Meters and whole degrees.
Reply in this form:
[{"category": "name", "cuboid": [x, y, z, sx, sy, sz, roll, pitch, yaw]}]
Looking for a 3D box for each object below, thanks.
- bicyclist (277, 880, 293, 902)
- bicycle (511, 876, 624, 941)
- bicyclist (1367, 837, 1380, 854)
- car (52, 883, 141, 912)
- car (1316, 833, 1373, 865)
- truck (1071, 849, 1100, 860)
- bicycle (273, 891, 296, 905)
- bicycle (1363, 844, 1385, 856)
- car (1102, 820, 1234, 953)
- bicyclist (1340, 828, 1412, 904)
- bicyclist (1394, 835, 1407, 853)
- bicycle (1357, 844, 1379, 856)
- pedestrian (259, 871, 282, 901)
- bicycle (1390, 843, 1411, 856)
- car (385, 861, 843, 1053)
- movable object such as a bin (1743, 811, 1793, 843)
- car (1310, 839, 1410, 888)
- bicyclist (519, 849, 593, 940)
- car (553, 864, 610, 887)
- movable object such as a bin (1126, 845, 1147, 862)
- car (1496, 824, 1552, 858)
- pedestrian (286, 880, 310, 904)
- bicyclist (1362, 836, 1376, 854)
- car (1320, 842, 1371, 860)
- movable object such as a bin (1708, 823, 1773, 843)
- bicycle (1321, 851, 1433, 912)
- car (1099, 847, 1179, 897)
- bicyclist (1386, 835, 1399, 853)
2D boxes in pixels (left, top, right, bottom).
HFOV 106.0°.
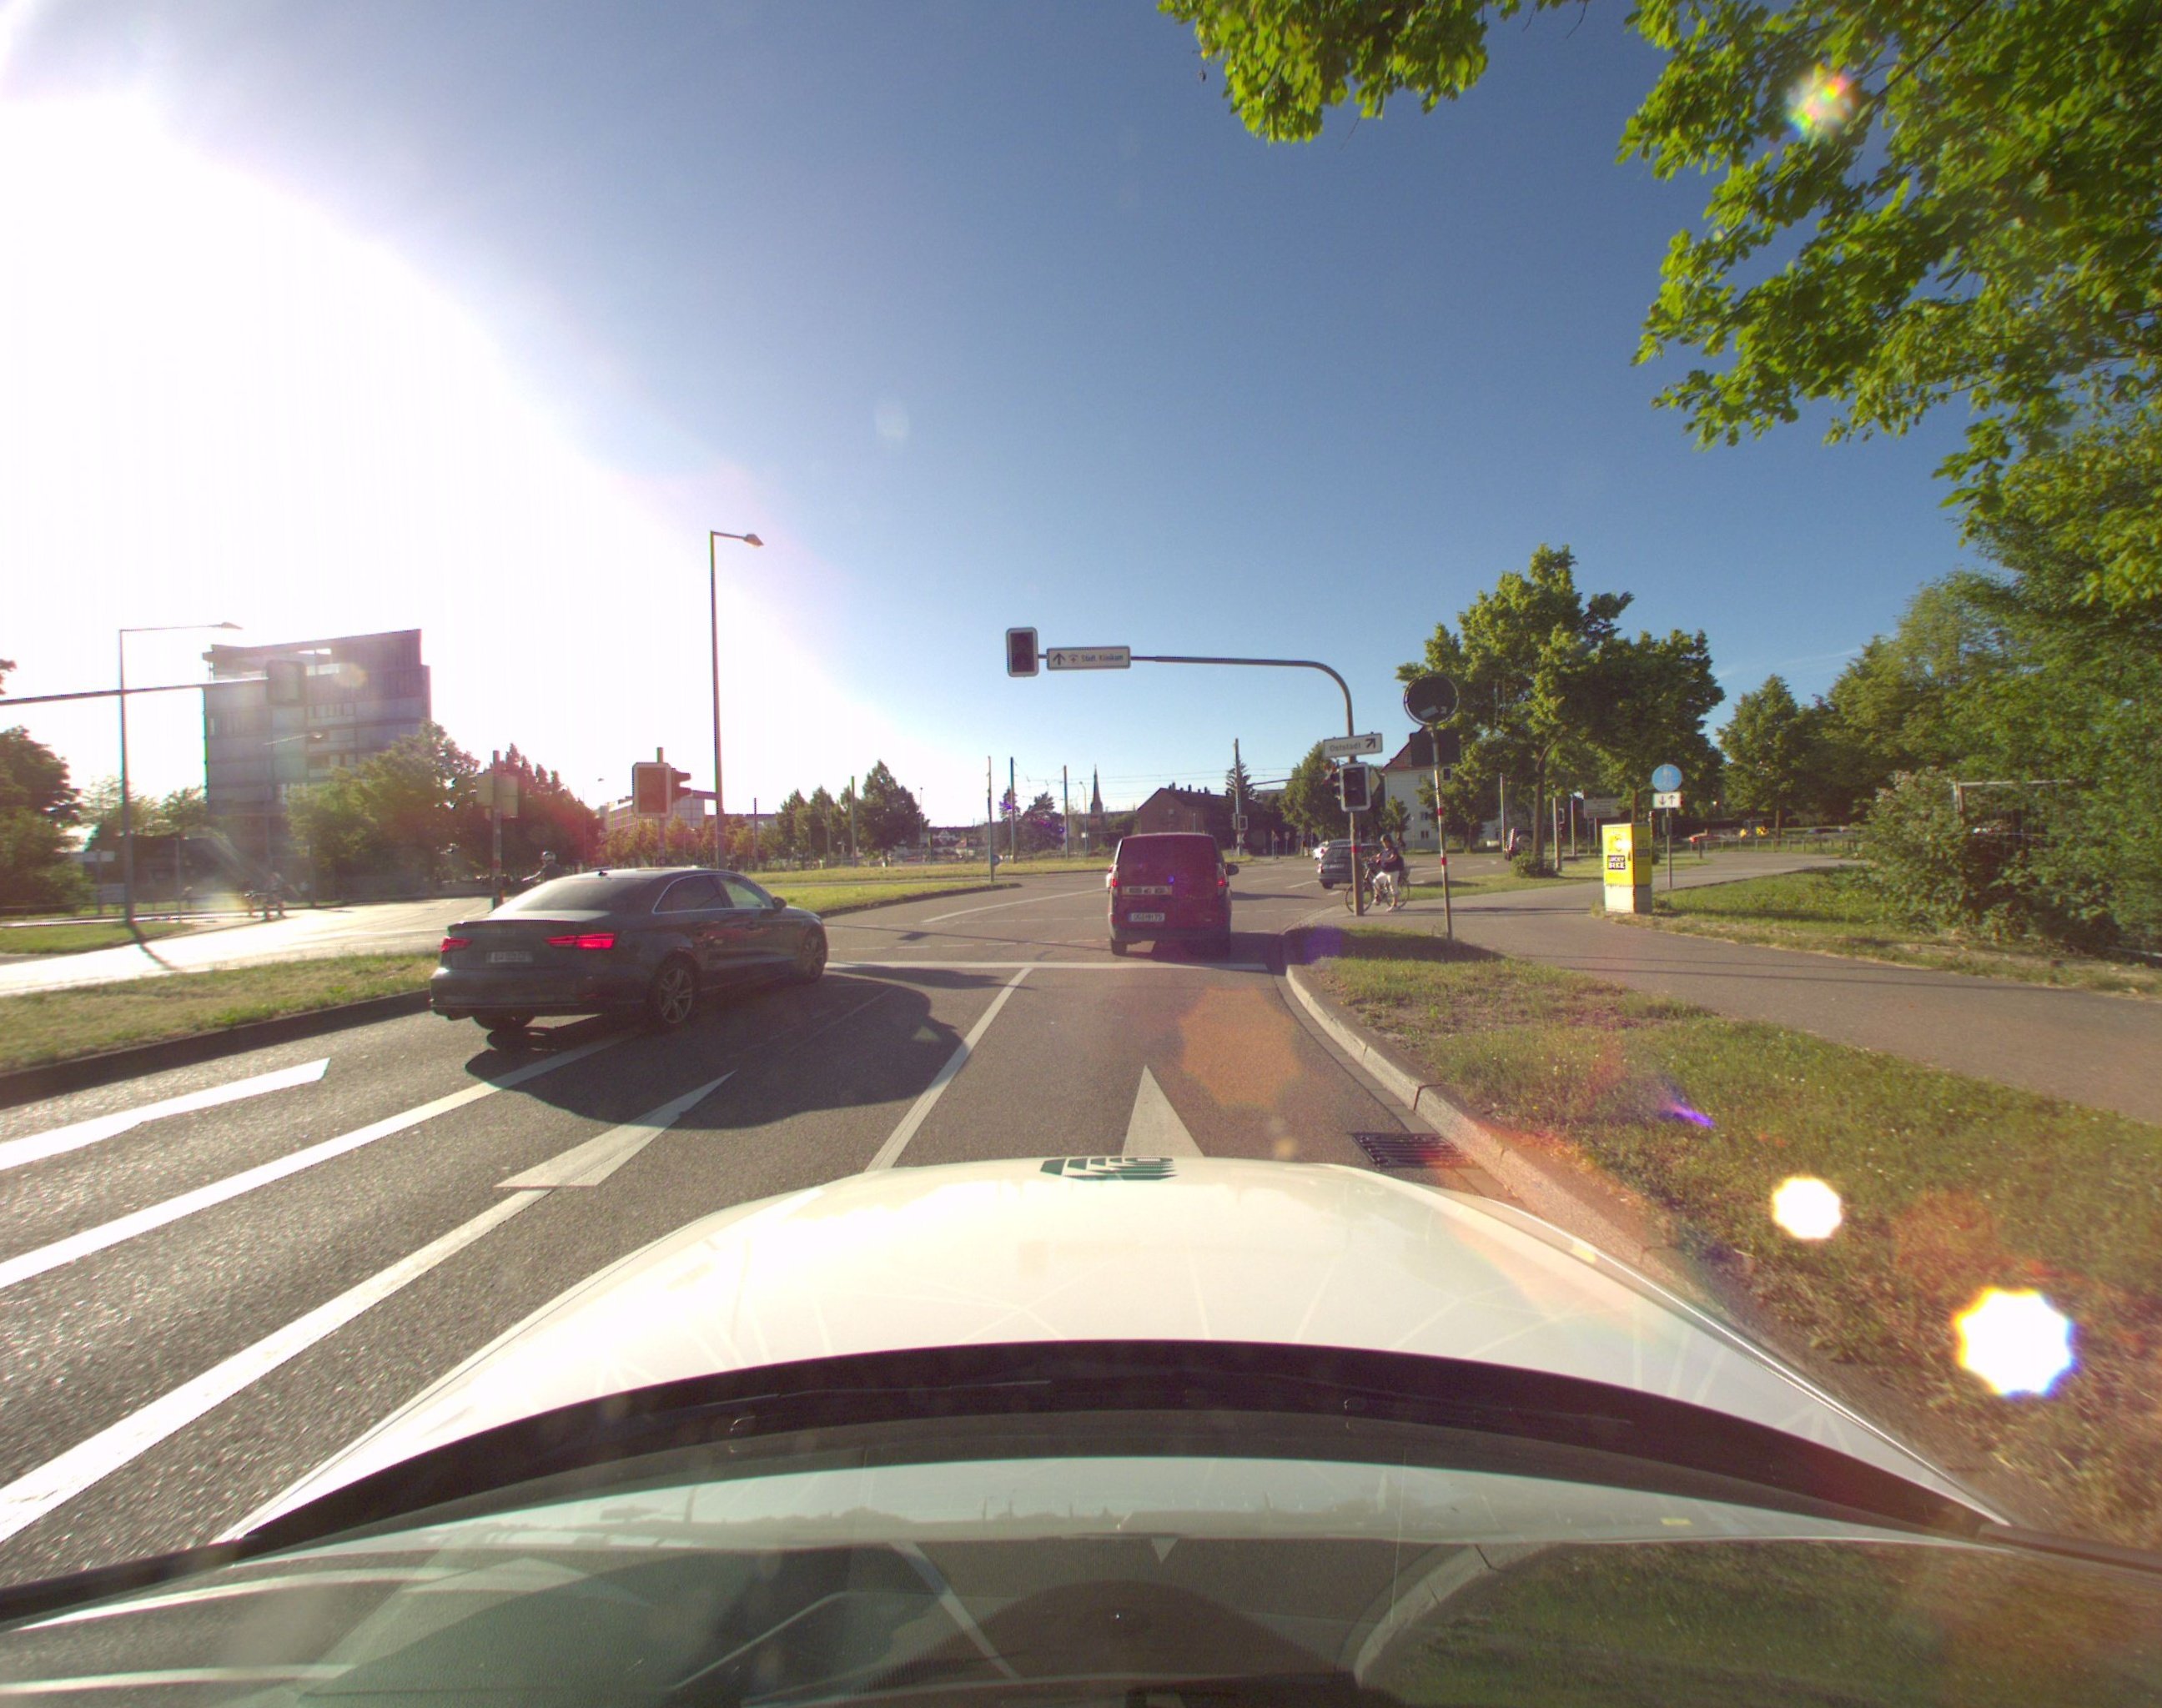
[{"category": "bicyclist", "cuboid": [-60.451, 2.782, 61.826, 0.664, 1.580, 0.827, -2, 0, -30]}, {"category": "bicycle", "cuboid": [-9.734, 1.017, 15.482, 1.649, 1.128, 0.702, -1, -1, -8]}, {"category": "bicyclist", "cuboid": [31.788, -0.935, 88.478, 0.888, 1.852, 1.015, 0, -1, -33]}, {"category": "car", "cuboid": [-72.598, 3.168, 60.151, 1.824, 1.805, 3.749, -2, 0, 5]}, {"category": "car", "cuboid": [14.069, -0.286, 43.322, 1.974, 1.575, 4.436, -2, 1, 30]}, {"category": "truck", "cuboid": [0.857, 0.076, 154.598, 2.181, 2.014, 6.363, 0, -1, -37]}, {"category": "bicycle", "cuboid": [-60.441, 3.318, 61.795, 0.664, 0.988, 2.240, -2, 0, -30]}, {"category": "bicycle", "cuboid": [31.796, -0.408, 88.422, 0.888, 1.265, 2.187, 0, -1, -33]}, {"category": "car", "cuboid": [1.485, 0.444, 13.084, 1.792, 1.813, 3.819, 0, 0, 9]}, {"category": "bicyclist", "cuboid": [6.422, 0.254, 17.761, 1.088, 1.562, 0.870, -3, -1, -22]}, {"category": "bicyclist", "cuboid": [33.445, -0.998, 85.277, 0.812, 1.852, 1.019, 0, -1, -18]}, {"category": "bicycle", "cuboid": [30.758, -0.420, 87.316, 0.888, 1.265, 2.187, 0, -1, -33]}, {"category": "pedestrian", "cuboid": [-55.544, 2.183, 55.804, 0.587, 2.005, 0.941, -2, 0, -10]}, {"category": "bicycle", "cuboid": [33.448, -0.472, 85.238, 0.818, 1.265, 2.195, 0, -1, -19]}, {"category": "car", "cuboid": [-4.177, 0.806, 8.301, 1.751, 1.380, 4.367, -1, 0, 7]}, {"category": "movable object such as a bin", "cuboid": [65.802, -2.529, 78.084, 1.977, 2.789, 5.072, -1, -1, 19]}, {"category": "car", "cuboid": [9.280, 0.271, 26.865, 1.697, 1.436, 4.178, -2, 0, 40]}, {"category": "bicyclist", "cuboid": [-9.937, 0.753, 15.447, 0.939, 1.663, 0.702, -1, -1, -8]}, {"category": "car", "cuboid": [-37.272, 1.552, 60.893, 2.002, 1.541, 4.312, -2, 0, -9]}, {"category": "movable object such as a bin", "cuboid": [9.378, -0.084, 136.935, 2.423, 2.773, 3.980, 0, -1, -14]}, {"category": "car", "cuboid": [26.597, -0.717, 49.043, 1.981, 1.897, 4.773, -2, -1, 17]}, {"category": "pedestrian", "cuboid": [-53.675, 2.598, 55.855, 0.885, 1.629, 0.756, -2, 0, -18]}, {"category": "bicyclist", "cuboid": [30.840, -0.949, 87.207, 0.888, 1.852, 1.015, 0, -1, -33]}, {"category": "car", "cuboid": [24.992, -0.246, 77.170, 2.005, 1.539, 4.367, -2, 1, -28]}, {"category": "movable object such as a bin", "cuboid": [70.437, -2.255, 87.120, 4.962, 1.948, 2.252, -1, -1, 22]}, {"category": "bicycle", "cuboid": [6.458, 0.583, 17.769, 2.218, 1.155, 0.870, -3, -1, -22]}, {"category": "car", "cuboid": [1.946, 0.539, 26.254, 1.789, 1.461, 3.826, 0, 0, 16]}, {"category": "bicyclist", "cuboid": [32.435, -0.999, 84.821, 0.812, 1.852, 1.019, 0, -1, -18]}]
